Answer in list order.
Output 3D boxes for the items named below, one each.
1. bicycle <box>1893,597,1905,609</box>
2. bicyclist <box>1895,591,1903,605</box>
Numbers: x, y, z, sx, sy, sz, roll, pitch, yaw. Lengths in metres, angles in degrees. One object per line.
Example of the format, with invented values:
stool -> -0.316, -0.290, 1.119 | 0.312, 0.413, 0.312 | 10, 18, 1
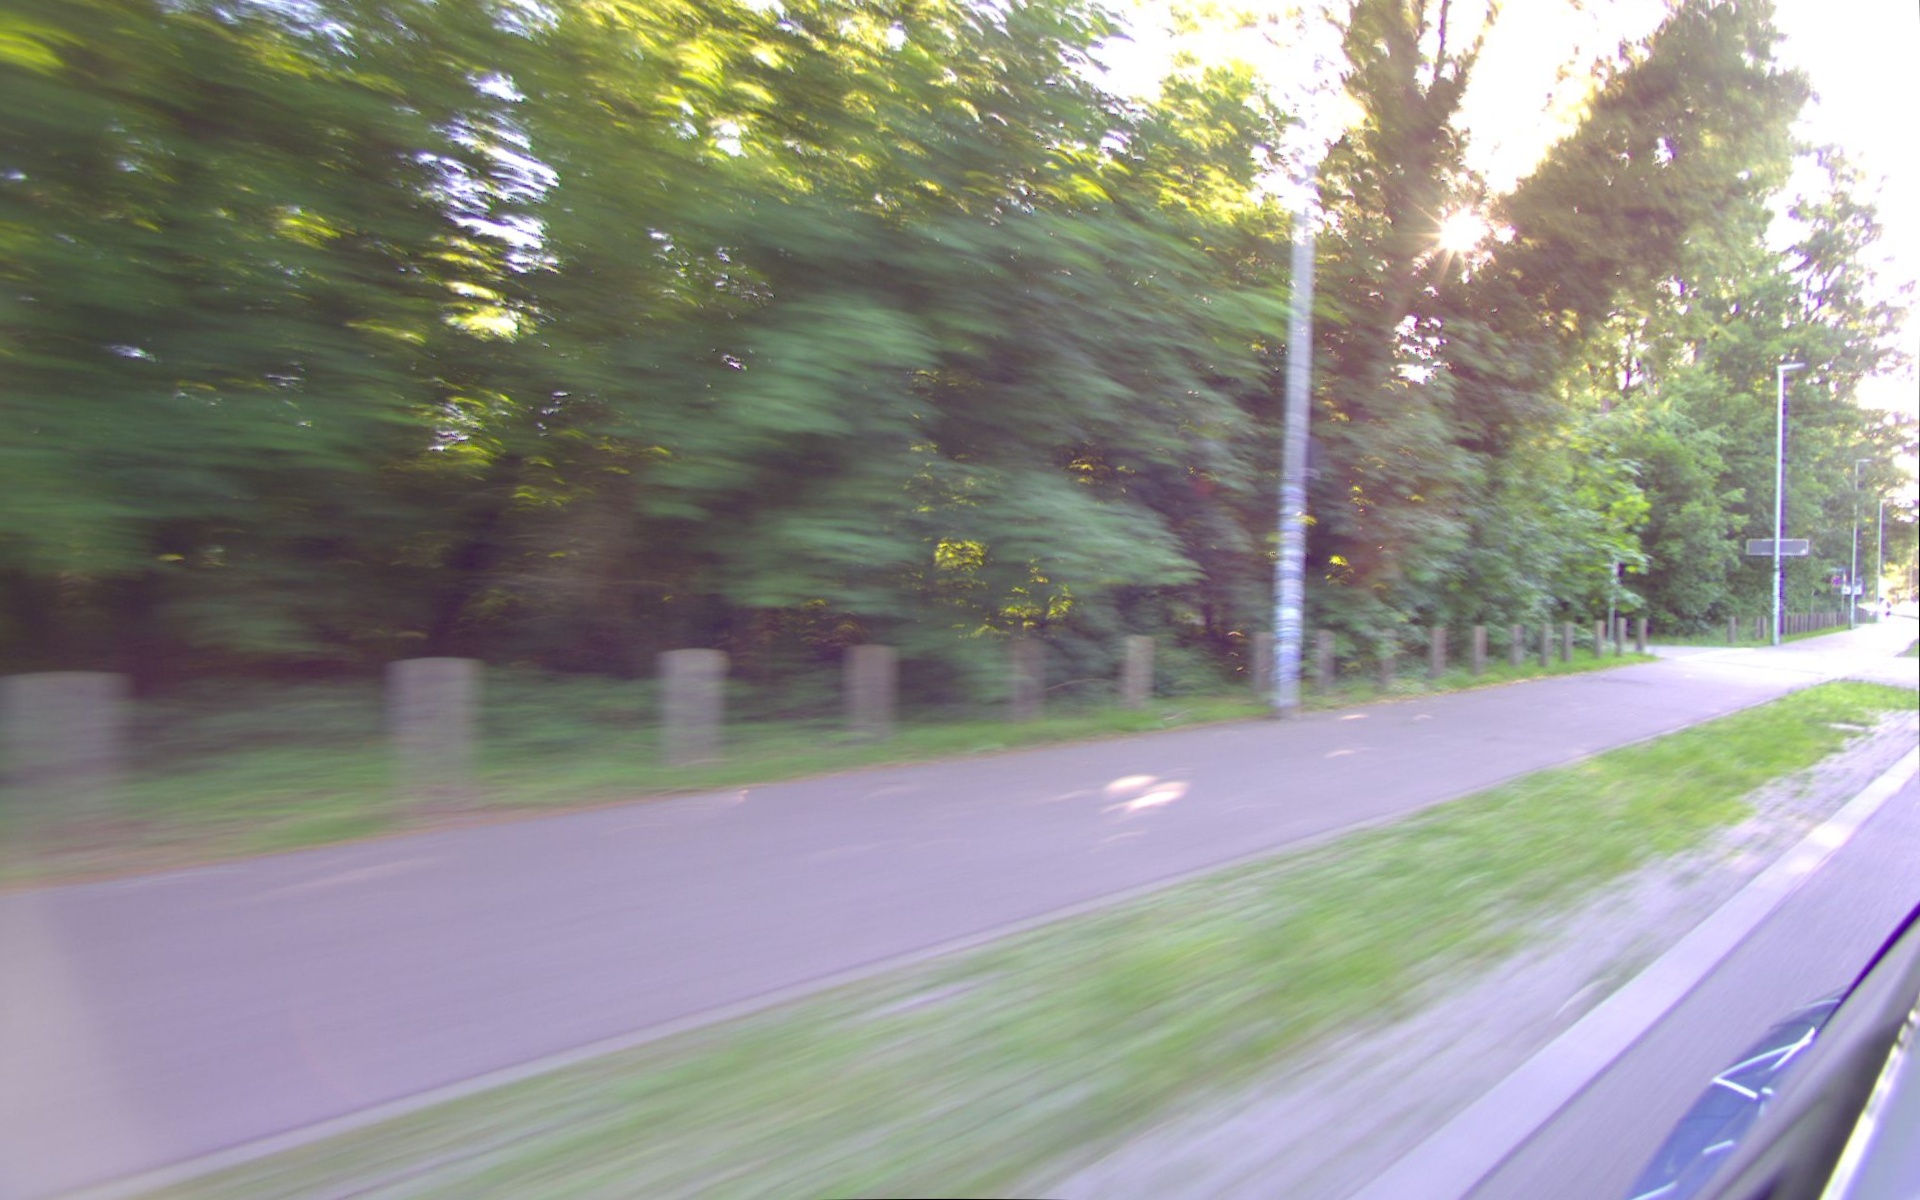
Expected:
bicycle -> 88.341, 0.288, 95.244 | 0.606, 1.070, 2.834 | 1, 1, 39
bicyclist -> 88.251, -0.211, 95.158 | 0.512, 1.283, 0.490 | 1, 0, 39
